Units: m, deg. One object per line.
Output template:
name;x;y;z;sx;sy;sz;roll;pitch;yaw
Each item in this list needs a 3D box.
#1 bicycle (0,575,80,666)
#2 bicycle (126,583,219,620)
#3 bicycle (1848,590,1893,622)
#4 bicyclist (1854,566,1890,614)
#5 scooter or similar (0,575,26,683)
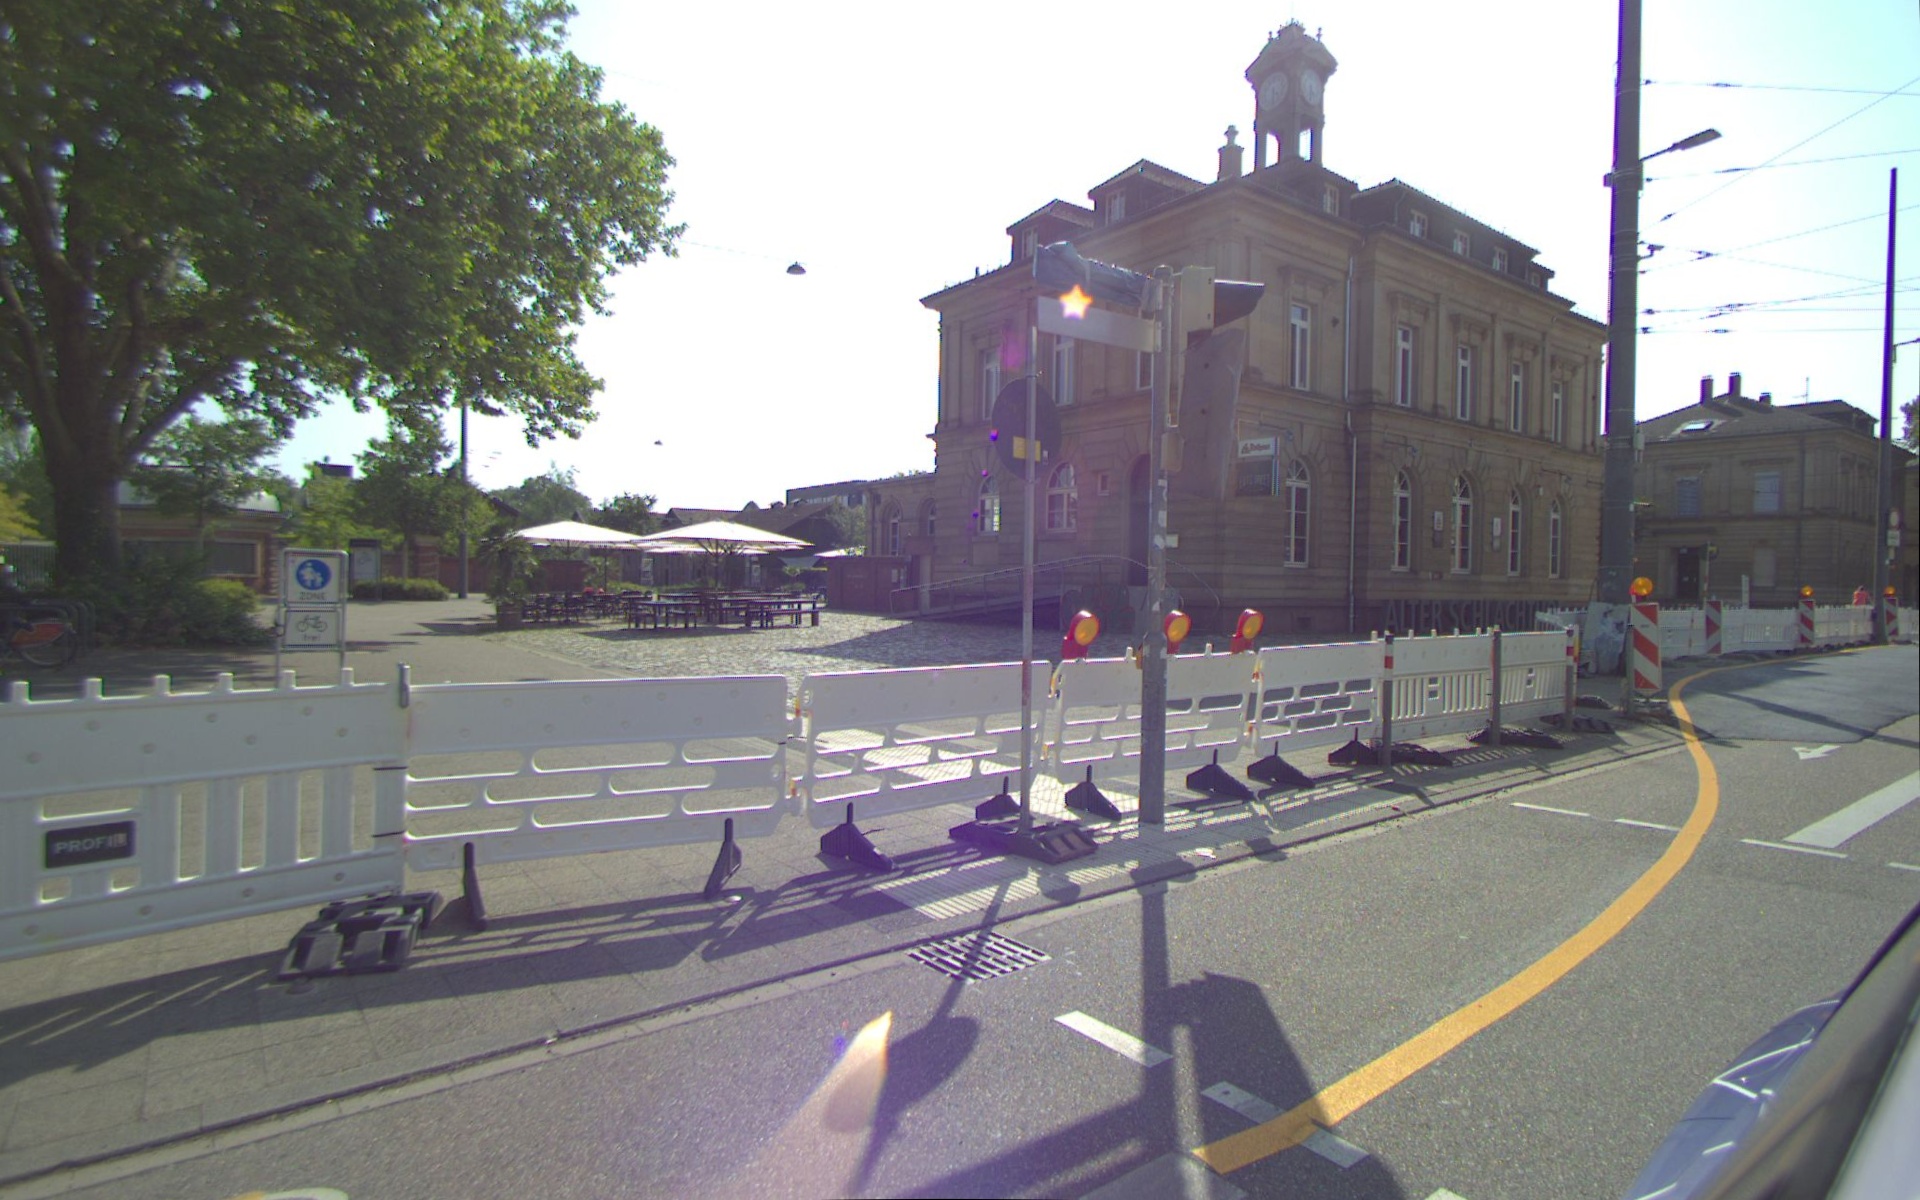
bicycle;-12.738;0.259;13.375;1.597;1.180;0.500;0;2;-32
bicycle;-19.849;0.040;25.551;1.758;0.871;0.570;3;0;-29
bicycle;32.059;0.199;35.621;2.092;1.045;0.744;0;2;-36
bicyclist;32.094;-0.362;35.619;0.837;1.645;0.737;0;2;-36
scooter or similar;-11.105;0.315;11.107;1.202;1.180;0.410;0;2;-32
